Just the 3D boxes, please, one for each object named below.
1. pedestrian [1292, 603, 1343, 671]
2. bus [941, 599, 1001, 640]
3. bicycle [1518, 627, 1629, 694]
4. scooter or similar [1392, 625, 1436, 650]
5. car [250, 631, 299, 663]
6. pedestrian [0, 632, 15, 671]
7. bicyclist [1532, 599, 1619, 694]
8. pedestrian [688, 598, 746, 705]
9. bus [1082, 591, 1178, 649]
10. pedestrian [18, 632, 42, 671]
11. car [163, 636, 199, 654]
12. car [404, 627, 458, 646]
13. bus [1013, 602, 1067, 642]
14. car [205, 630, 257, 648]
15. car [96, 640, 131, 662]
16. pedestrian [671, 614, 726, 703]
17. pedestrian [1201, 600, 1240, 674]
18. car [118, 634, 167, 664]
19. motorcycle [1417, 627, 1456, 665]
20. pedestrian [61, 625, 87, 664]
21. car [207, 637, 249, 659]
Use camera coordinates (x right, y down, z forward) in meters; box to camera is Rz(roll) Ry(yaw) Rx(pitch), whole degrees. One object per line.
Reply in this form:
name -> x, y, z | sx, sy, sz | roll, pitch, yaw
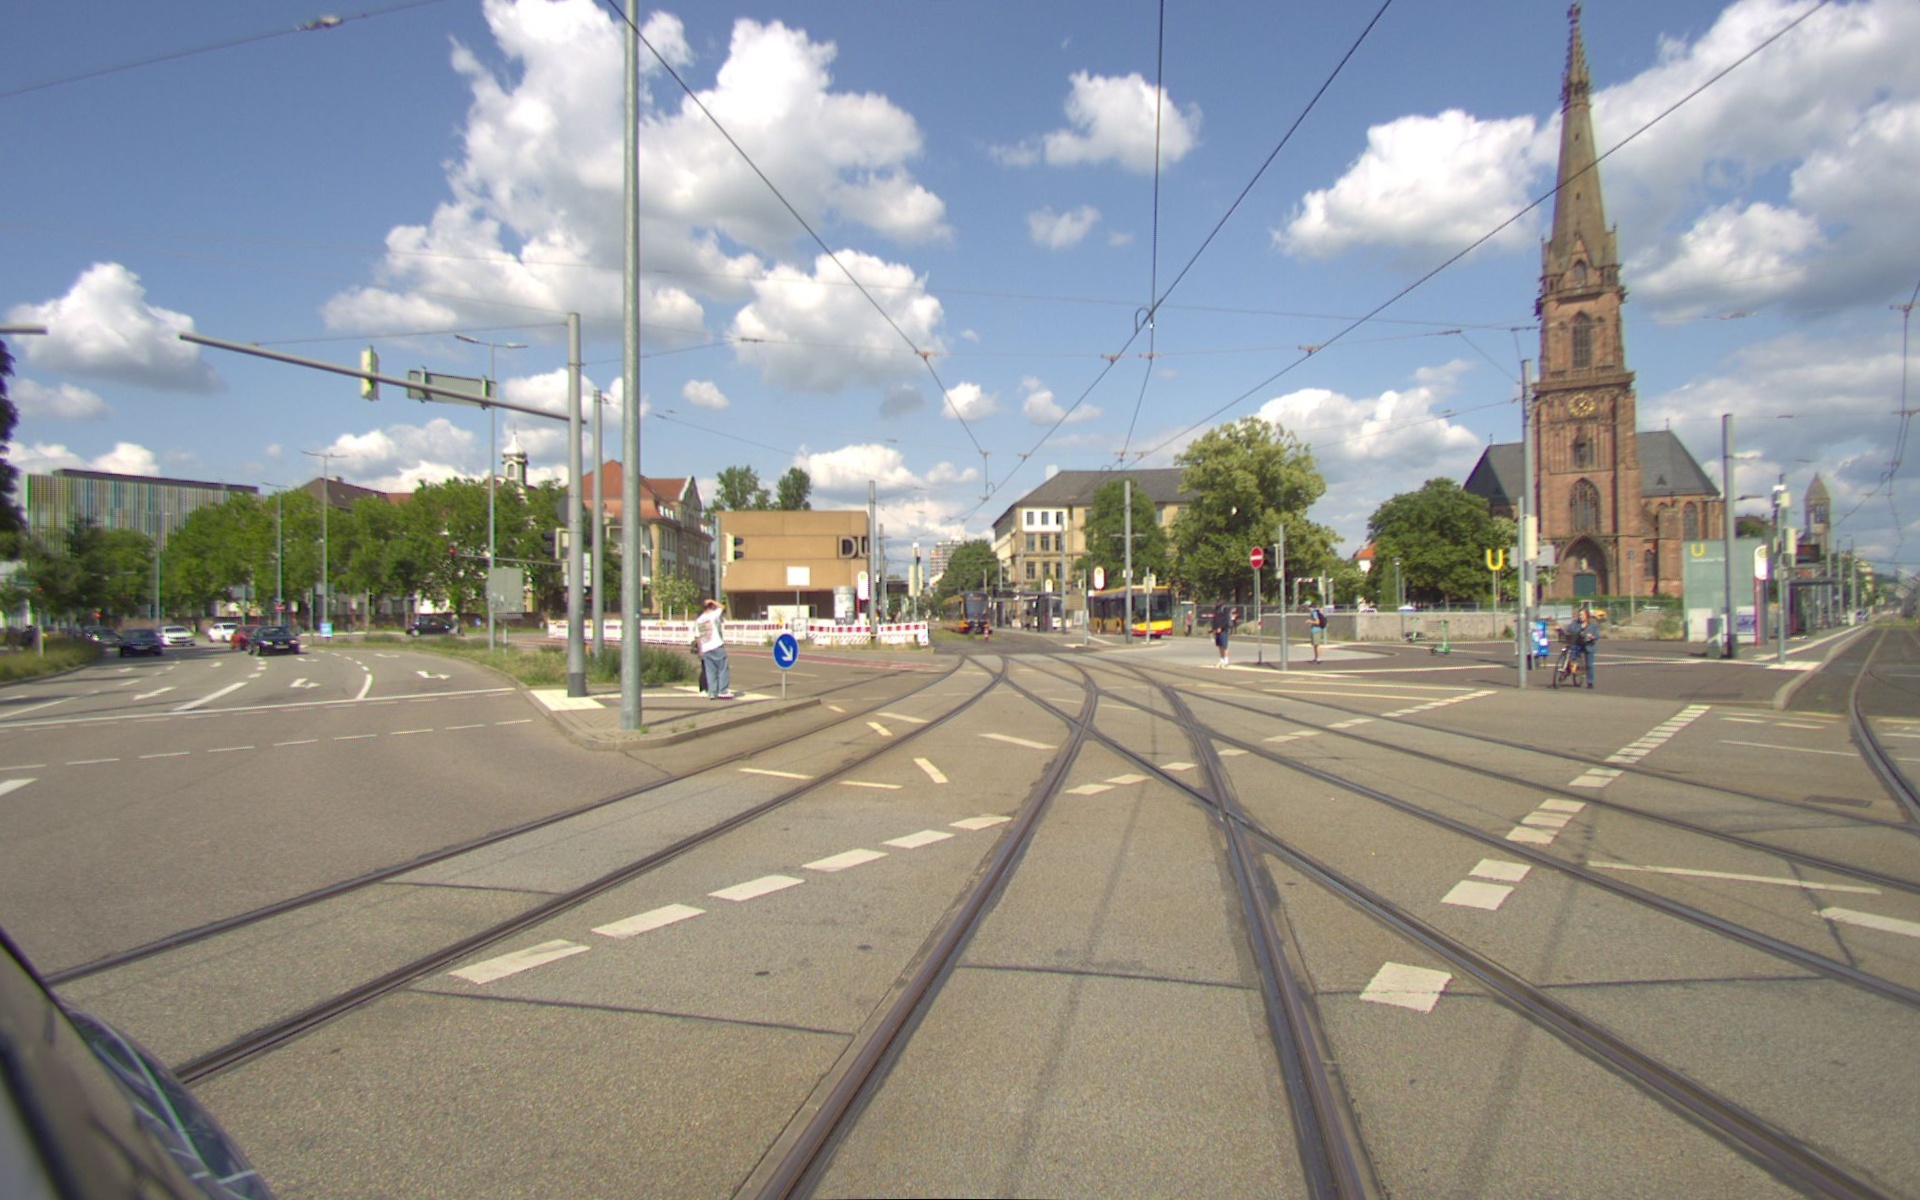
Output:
pedestrian -> 9.919, 1.008, 28.111 | 0.754, 1.811, 1.031 | -2, 0, -30
bus -> 0.652, 1.857, 92.088 | 3.424, 3.208, 23.800 | -1, -1, -4
bicycle -> 11.633, 1.111, 19.172 | 2.263, 1.197, 0.997 | 1, -2, -36
scooter or similar -> 21.171, 1.740, 47.219 | 1.622, 1.114, 0.853 | -2, 0, 0
car -> -33.893, 2.285, 50.119 | 1.796, 1.474, 4.012 | -1, -1, -31
pedestrian -> -42.982, 2.309, 45.454 | 0.757, 1.748, 0.720 | -2, 0, -43
bicyclist -> 11.692, 0.868, 19.232 | 1.280, 1.744, 0.997 | 1, -2, -36
pedestrian -> -4.500, 0.930, 18.747 | 0.836, 1.931, 0.694 | 1, -1, -34
bus -> 10.005, 1.252, 61.308 | 2.792, 3.160, 12.850 | 0, -1, -4
pedestrian -> -42.750, 2.364, 46.522 | 0.757, 1.748, 0.720 | -2, 0, -43
car -> -54.668, 3.154, 71.026 | 1.880, 1.142, 4.110 | 0, -1, -39
car -> -41.693, 2.867, 79.834 | 3.724, 1.345, 1.739 | -1, 0, -28
bus -> 7.902, 2.330, 103.086 | 3.557, 3.659, 18.875 | -1, -2, -1
car -> -57.355, 3.079, 79.611 | 3.982, 1.364, 1.762 | -2, 0, 29
car -> -59.954, 3.582, 71.721 | 1.798, 1.474, 4.007 | 0, -1, -39
pedestrian -> -4.990, 1.097, 19.317 | 0.836, 1.660, 0.694 | 1, -1, -34
pedestrian -> 6.884, 0.974, 26.727 | 0.822, 1.917, 0.761 | -2, 0, 25
car -> -43.098, 2.557, 53.399 | 1.797, 1.474, 4.009 | 0, -1, -36
motorcycle -> 15.954, 1.536, 33.882 | 1.422, 1.246, 0.485 | 1, -1, -32
pedestrian -> -46.849, 2.352, 53.515 | 0.949, 2.029, 0.770 | -2, 0, -37
car -> -42.750, 2.797, 59.092 | 1.574, 1.142, 3.633 | -2, 0, -42
